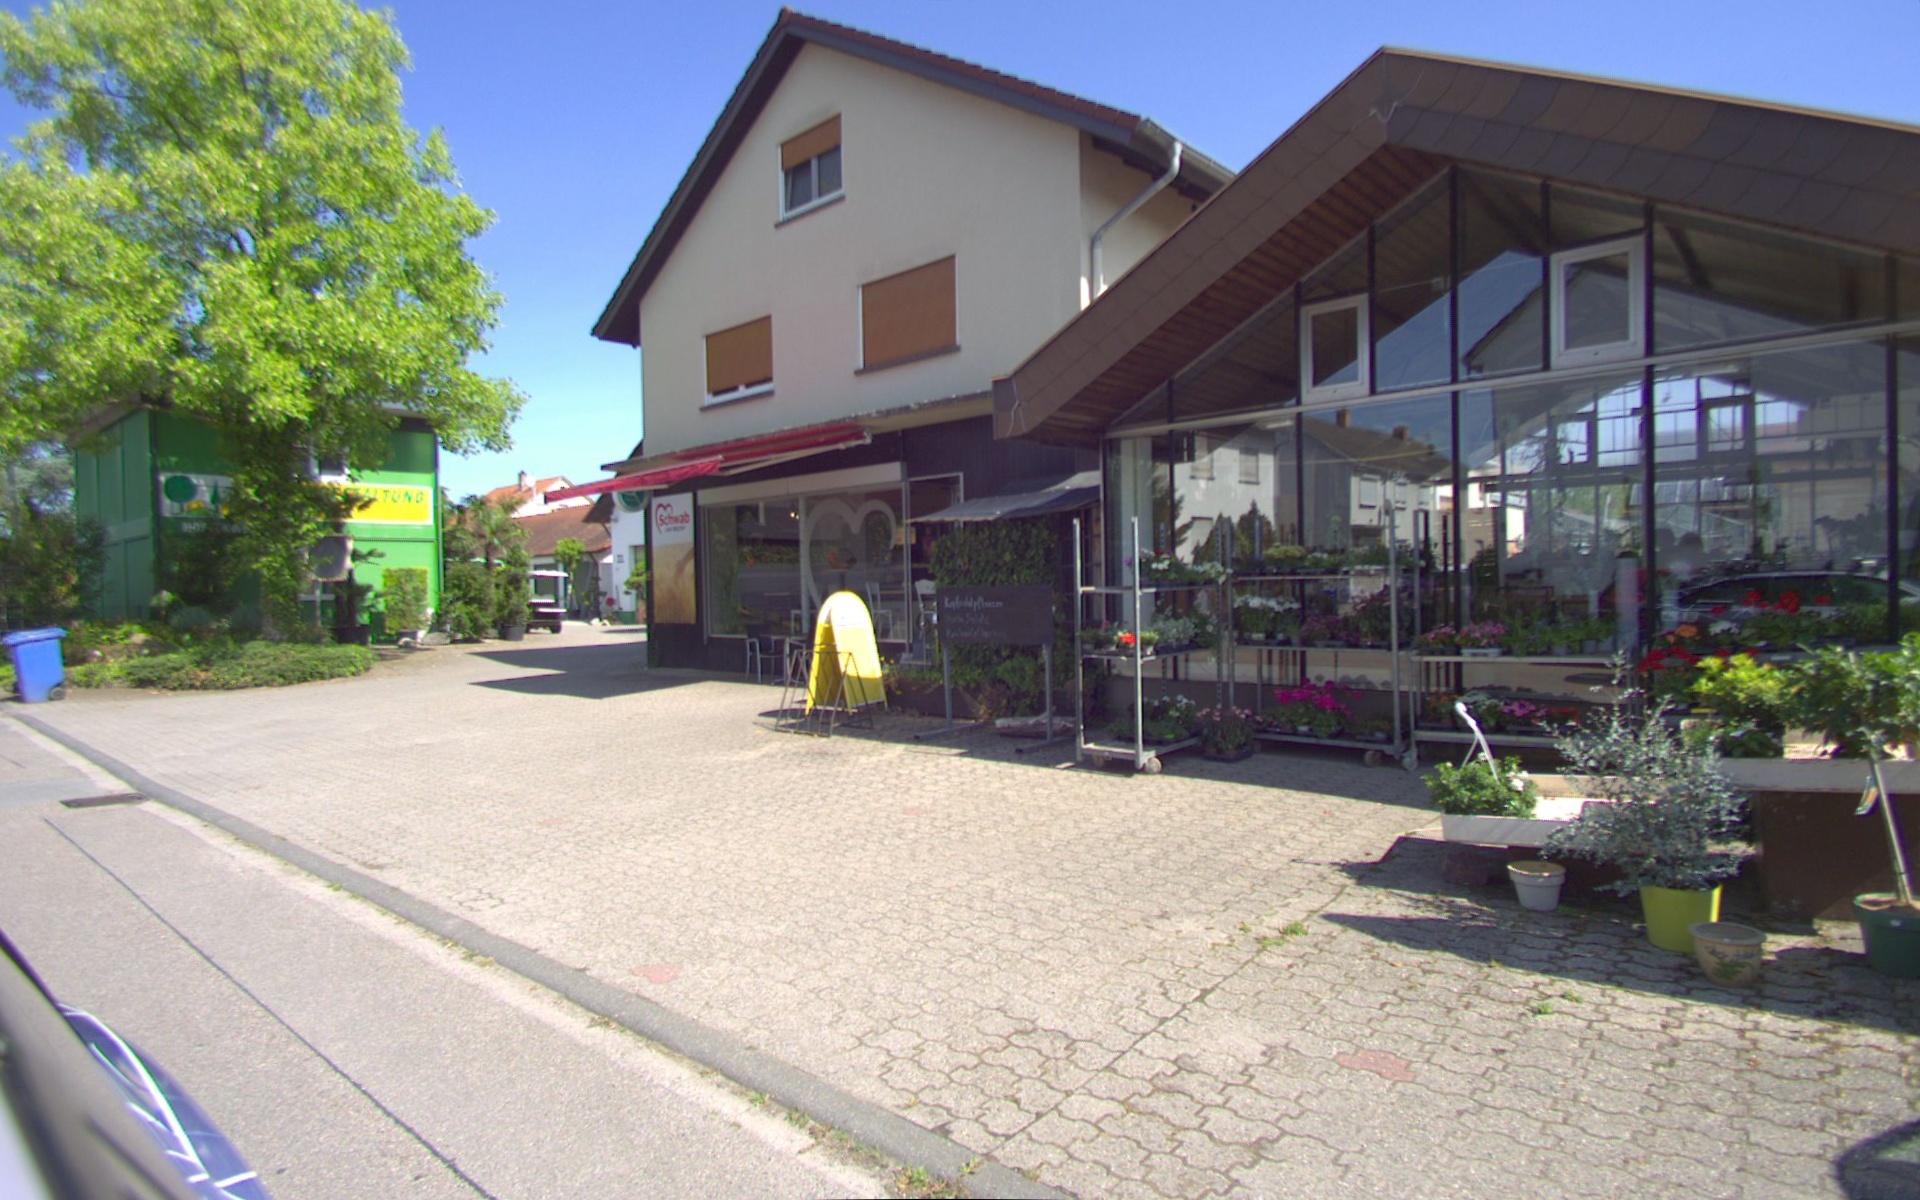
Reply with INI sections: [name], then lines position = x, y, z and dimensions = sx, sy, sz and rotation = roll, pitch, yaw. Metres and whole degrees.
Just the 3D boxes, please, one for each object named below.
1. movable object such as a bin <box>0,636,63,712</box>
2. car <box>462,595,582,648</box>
[movable object such as a bin]
position = -14.279, 1.116, 15.483
dimensions = 0.612, 1.062, 0.723
rotation = -1, 1, 41
[car]
position = -13.605, 0.599, 31.317
dimensions = 3.998, 1.458, 1.837
rotation = 0, 3, 41
